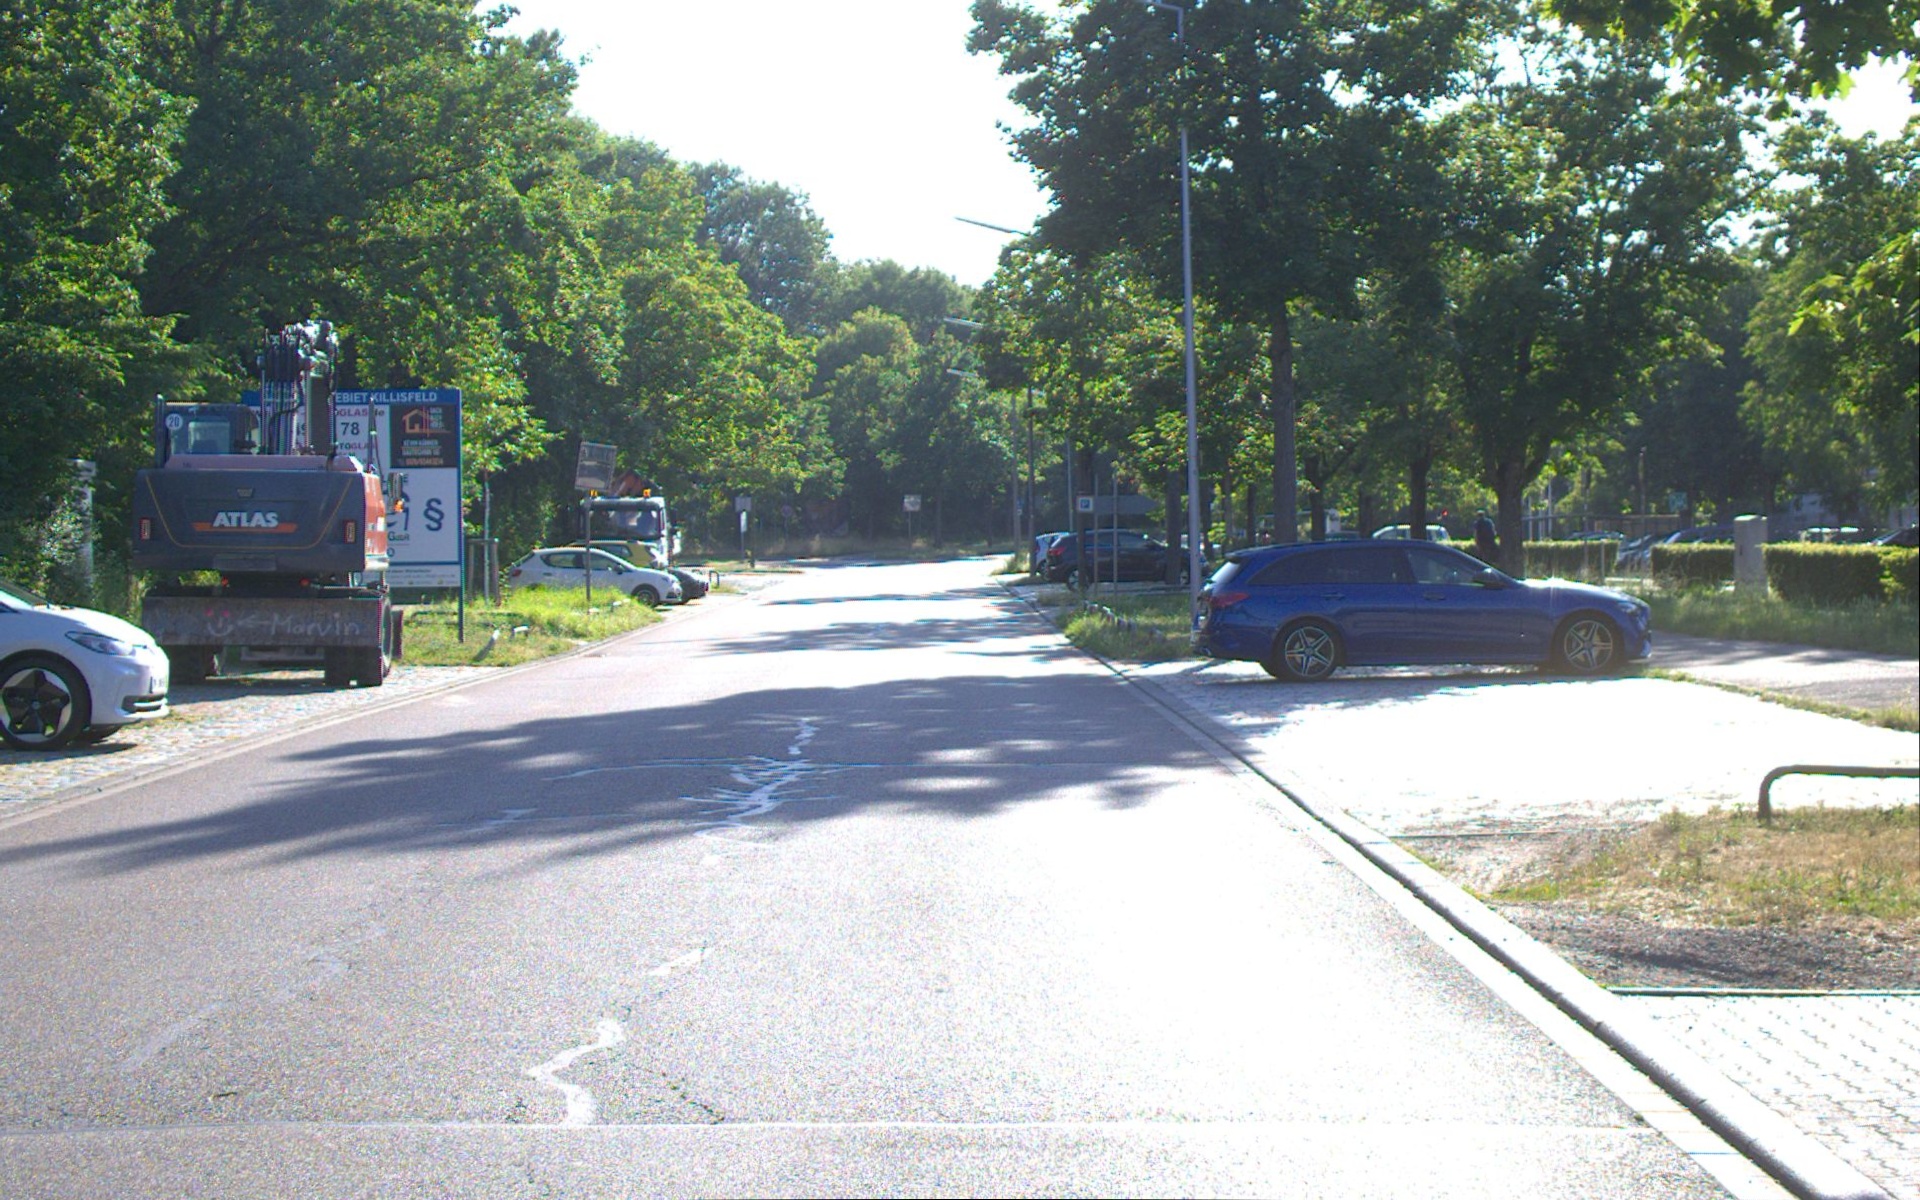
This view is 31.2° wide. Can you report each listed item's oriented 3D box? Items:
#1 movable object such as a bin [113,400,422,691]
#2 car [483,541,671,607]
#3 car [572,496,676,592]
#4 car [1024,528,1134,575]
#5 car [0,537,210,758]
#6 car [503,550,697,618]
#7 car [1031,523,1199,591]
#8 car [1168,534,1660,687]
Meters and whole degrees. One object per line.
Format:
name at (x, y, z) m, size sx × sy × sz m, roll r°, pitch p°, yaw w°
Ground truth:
movable object such as a bin at (-7.730, -0.627, 38.971) m, size 2.838 × 3.058 × 4.928 m, roll -1°, pitch 1°, yaw -5°
car at (-9.101, -0.625, 81.745) m, size 4.357 × 1.474 × 2.000 m, roll -1°, pitch 1°, yaw -7°
car at (-8.676, -1.451, 88.552) m, size 2.516 × 2.378 × 4.374 m, roll -1°, pitch 1°, yaw -7°
car at (4.447, -1.814, 128.620) m, size 3.987 × 1.674 × 2.000 m, roll -1°, pitch 1°, yaw -1°
car at (-8.148, 0.266, 26.193) m, size 4.358 × 1.542 × 2.000 m, roll 3°, pitch 1°, yaw 1°
car at (-8.297, -0.382, 79.173) m, size 4.357 × 1.474 × 2.000 m, roll -1°, pitch 1°, yaw -7°
car at (4.143, -1.159, 92.298) m, size 4.358 × 1.723 × 2.000 m, roll 1°, pitch 1°, yaw -1°
car at (4.637, 0.087, 35.671) m, size 4.841 × 1.474 × 2.000 m, roll -1°, pitch 1°, yaw 1°
